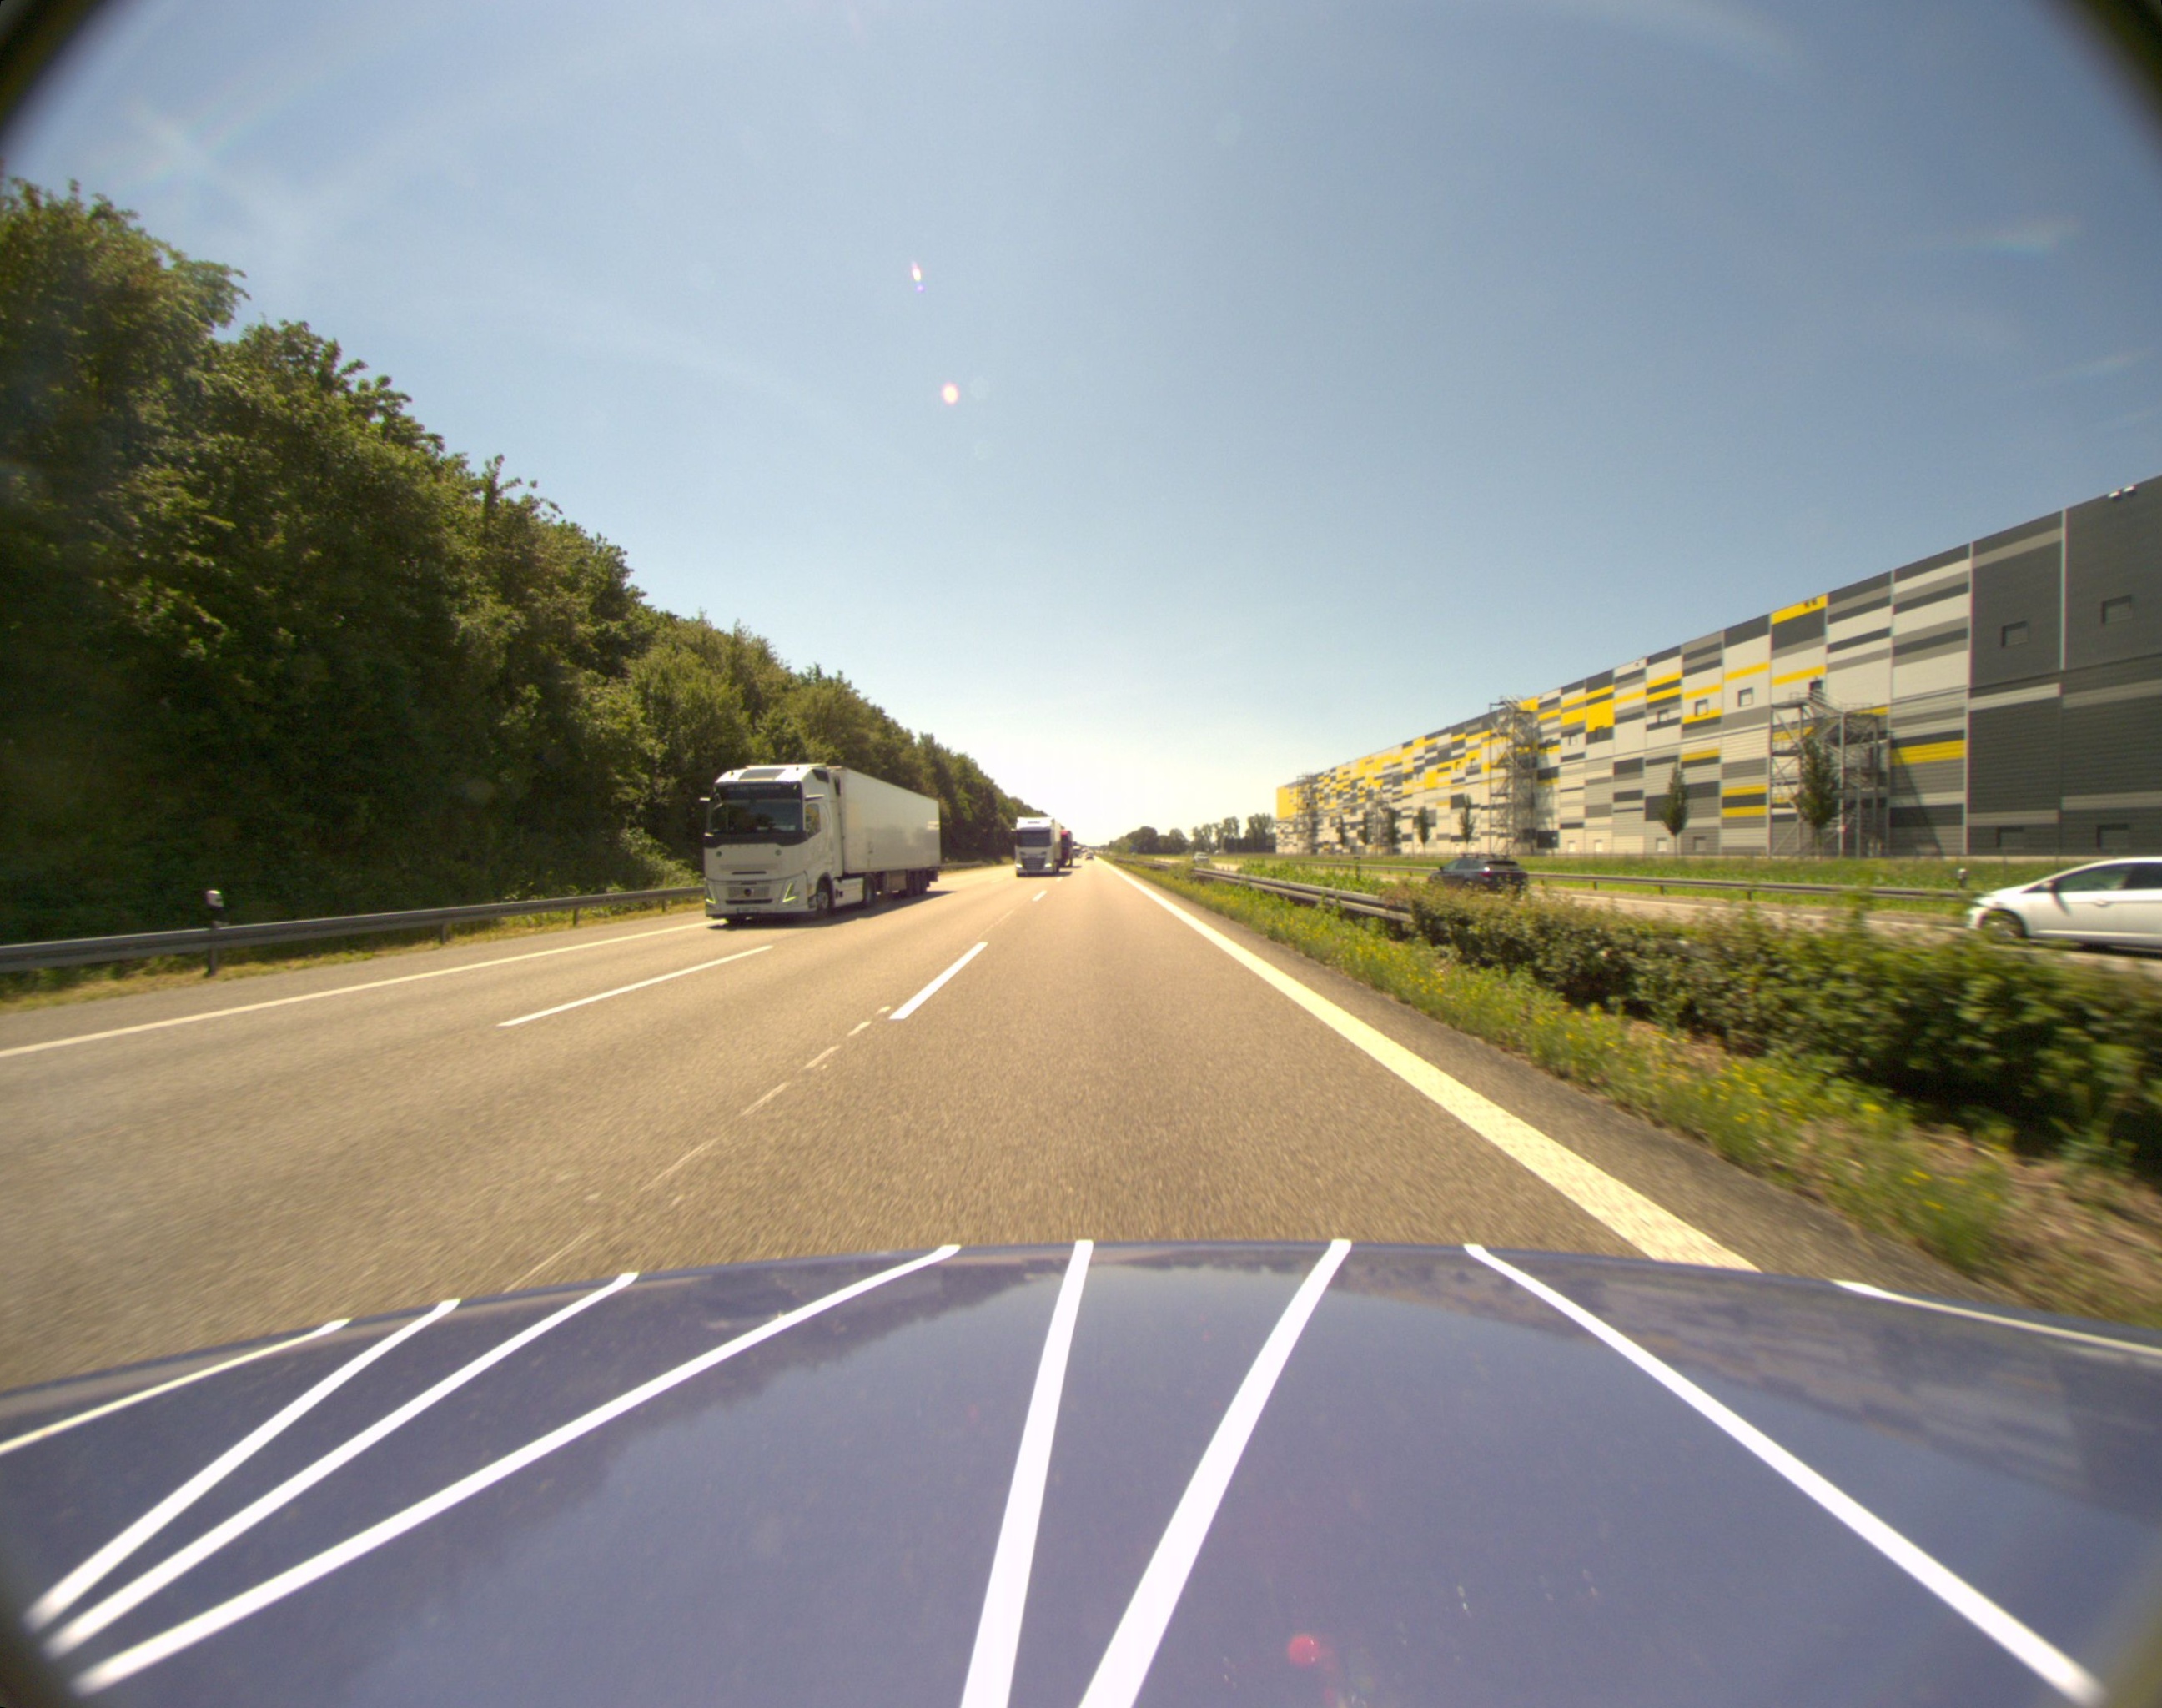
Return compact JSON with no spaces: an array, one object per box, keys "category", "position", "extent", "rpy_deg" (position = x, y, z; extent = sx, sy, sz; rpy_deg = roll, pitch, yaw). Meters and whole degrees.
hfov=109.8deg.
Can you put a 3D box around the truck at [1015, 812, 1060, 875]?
[{"category":"truck","position":[-2.960,-0.710,53.120],"extent":[2.684,4.046,6.048],"rpy_deg":[-2,1,0]}]

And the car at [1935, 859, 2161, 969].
[{"category":"car","position":[17.101,0.925,11.974],"extent":[1.904,1.584,4.742],"rpy_deg":[1,1,0]}]

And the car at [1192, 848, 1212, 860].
[{"category":"car","position":[15.431,0.011,97.054],"extent":[1.812,1.475,4.416],"rpy_deg":[2,1,1]}]

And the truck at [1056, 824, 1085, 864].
[{"category":"truck","position":[-1.142,-1.042,80.699],"extent":[2.870,4.046,5.770],"rpy_deg":[-2,1,-1]}]

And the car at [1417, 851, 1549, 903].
[{"category":"car","position":[13.921,0.731,26.717],"extent":[1.904,1.523,5.031],"rpy_deg":[3,1,0]}]

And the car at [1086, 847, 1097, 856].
[{"category":"car","position":[2.231,-0.590,161.408],"extent":[2.073,1.959,5.109],"rpy_deg":[0,0,-1]}]

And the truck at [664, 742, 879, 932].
[{"category":"truck","position":[-7.749,-0.403,20.087],"extent":[3.055,4.191,6.048],"rpy_deg":[-2,1,0]}]

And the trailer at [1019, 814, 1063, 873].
[{"category":"trailer","position":[-2.960,-0.767,60.173],"extent":[2.684,4.046,13.833],"rpy_deg":[-2,0,0]}]

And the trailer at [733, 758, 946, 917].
[{"category":"trailer","position":[-7.702,-0.483,27.303],"extent":[3.047,4.200,13.834],"rpy_deg":[-2,0,0]}]

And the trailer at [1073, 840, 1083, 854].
[{"category":"trailer","position":[-0.860,-2.164,239.793],"extent":[3.005,4.046,13.834],"rpy_deg":[-2,0,0]}]

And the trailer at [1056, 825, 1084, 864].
[{"category":"trailer","position":[-1.266,-1.068,87.902],"extent":[2.885,4.046,13.832],"rpy_deg":[-2,0,-1]}]

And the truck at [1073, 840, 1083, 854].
[{"category":"truck","position":[-0.873,-2.145,232.288],"extent":[2.998,4.046,5.770],"rpy_deg":[-2,1,0]}]
